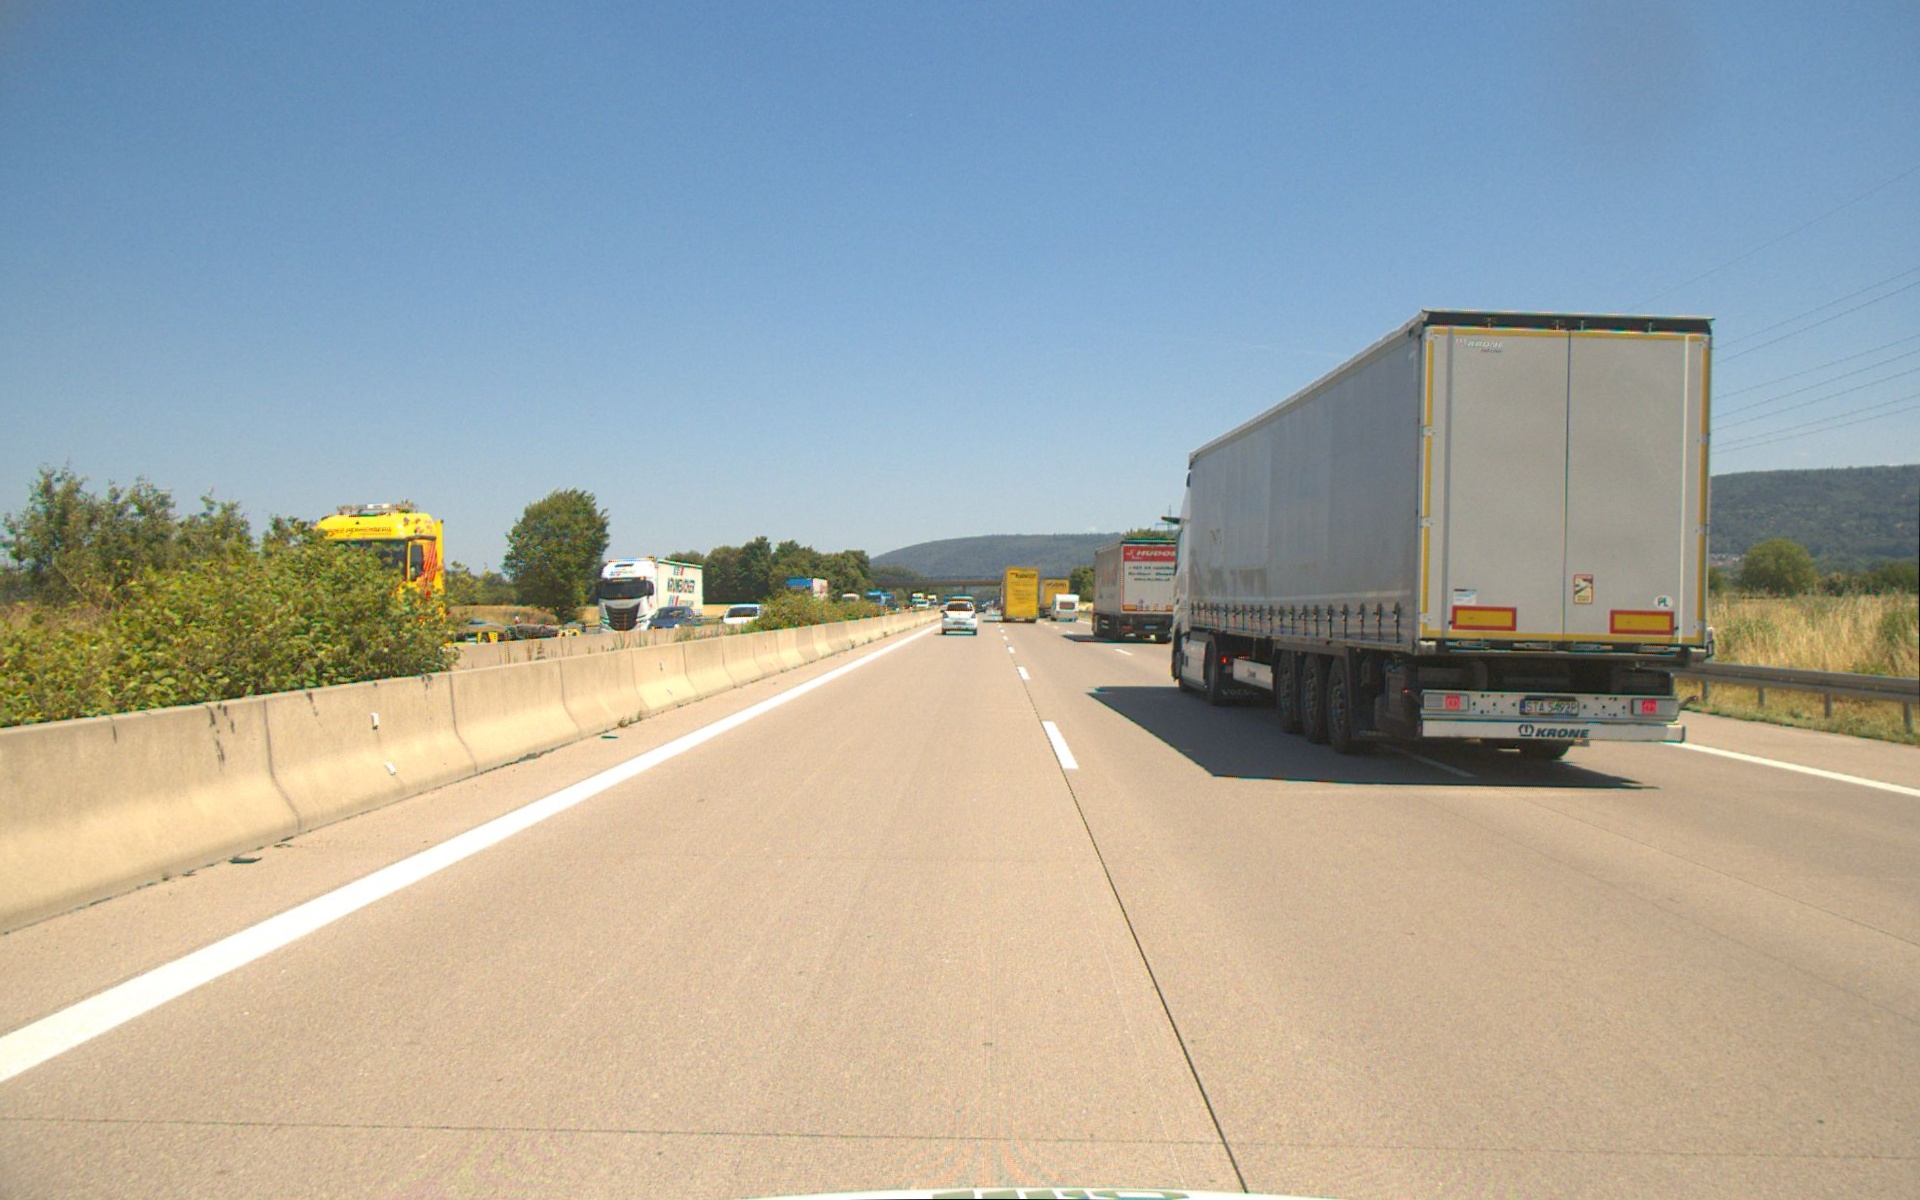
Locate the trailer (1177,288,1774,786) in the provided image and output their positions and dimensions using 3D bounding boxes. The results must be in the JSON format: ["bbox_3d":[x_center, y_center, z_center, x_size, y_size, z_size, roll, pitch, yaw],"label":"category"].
[{"bbox_3d":[5.297,-0.537,21.085,2.956,4.132,14.204,1,0,-1],"label":"trailer"}]

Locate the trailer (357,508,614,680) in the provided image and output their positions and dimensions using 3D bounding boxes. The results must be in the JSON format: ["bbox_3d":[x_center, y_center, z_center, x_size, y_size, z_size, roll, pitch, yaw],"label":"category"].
[{"bbox_3d":[-13.076,-0.153,47.541,2.719,4.110,14.614,1,0,1],"label":"trailer"}]

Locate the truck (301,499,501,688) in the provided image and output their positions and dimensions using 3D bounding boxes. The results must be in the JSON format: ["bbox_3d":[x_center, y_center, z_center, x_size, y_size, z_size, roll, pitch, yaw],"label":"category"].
[{"bbox_3d":[-13.266,-0.148,39.768,2.687,4.151,5.541,1,0,2],"label":"truck"}]

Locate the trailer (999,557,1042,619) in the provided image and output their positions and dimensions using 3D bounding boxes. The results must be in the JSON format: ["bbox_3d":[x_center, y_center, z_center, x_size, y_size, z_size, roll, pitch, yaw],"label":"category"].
[{"bbox_3d":[4.751,-0.908,132.691,3.149,4.643,13.458,1,0,1],"label":"trailer"}]

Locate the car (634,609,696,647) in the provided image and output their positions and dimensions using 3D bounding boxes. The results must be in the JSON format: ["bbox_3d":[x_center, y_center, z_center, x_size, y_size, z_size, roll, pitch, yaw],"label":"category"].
[{"bbox_3d":[-13.176,1.233,74.133,1.953,1.611,4.370,0,0,0],"label":"car"}]

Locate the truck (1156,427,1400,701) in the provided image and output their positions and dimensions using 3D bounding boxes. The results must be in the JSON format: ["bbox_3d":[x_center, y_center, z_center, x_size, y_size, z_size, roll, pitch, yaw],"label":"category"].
[{"bbox_3d":[5.214,-0.551,28.153,2.924,4.133,5.476,1,0,-1],"label":"truck"}]

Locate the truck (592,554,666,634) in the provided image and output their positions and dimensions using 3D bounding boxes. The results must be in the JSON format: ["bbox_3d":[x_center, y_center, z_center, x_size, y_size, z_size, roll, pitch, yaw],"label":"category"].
[{"bbox_3d":[-16.746,-0.310,83.956,2.713,3.907,4.452,1,0,0],"label":"truck"}]

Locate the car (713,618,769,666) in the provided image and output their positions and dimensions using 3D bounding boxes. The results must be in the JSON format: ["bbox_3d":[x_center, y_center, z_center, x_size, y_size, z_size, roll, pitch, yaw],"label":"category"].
[{"bbox_3d":[-8.915,1.677,67.727,1.670,1.835,4.714,0,0,0],"label":"car"}]

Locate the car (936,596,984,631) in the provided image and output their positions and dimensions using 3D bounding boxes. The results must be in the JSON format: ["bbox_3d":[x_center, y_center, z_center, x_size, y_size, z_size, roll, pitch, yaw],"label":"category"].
[{"bbox_3d":[0.043,0.621,77.361,2.063,1.563,4.123,1,0,2],"label":"car"}]

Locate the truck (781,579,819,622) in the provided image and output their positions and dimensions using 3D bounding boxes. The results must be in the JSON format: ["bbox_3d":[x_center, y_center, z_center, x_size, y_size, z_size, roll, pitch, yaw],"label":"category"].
[{"bbox_3d":[-15.061,0.031,156.028,2.837,3.931,5.685,1,0,0],"label":"truck"}]

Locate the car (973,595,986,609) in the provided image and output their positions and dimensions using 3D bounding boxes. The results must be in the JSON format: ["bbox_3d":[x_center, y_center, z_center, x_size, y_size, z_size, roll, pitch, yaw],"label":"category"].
[{"bbox_3d":[2.737,0.224,235.976,1.747,1.914,4.001,1,0,1],"label":"car"}]

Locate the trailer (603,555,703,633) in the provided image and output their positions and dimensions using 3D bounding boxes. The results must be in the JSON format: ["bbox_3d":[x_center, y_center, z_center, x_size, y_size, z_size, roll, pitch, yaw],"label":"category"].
[{"bbox_3d":[-16.681,-0.307,90.981,2.713,3.869,13.829,1,0,1],"label":"trailer"}]

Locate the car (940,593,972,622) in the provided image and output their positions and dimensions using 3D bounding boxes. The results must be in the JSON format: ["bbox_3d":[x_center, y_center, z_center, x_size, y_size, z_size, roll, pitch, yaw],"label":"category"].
[{"bbox_3d":[-0.272,0.542,121.671,2.208,2.049,4.298,1,0,2],"label":"car"}]

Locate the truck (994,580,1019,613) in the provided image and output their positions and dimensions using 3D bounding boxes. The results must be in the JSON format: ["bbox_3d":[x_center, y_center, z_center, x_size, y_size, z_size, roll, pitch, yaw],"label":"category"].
[{"bbox_3d":[5.397,-0.412,194.375,2.762,3.827,6.284,1,0,1],"label":"truck"}]

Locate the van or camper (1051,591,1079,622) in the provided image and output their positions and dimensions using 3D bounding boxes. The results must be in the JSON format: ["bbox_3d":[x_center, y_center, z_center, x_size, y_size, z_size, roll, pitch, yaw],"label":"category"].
[{"bbox_3d":[9.186,0.573,144.970,2.178,2.575,5.431,1,0,1],"label":"van or camper"}]

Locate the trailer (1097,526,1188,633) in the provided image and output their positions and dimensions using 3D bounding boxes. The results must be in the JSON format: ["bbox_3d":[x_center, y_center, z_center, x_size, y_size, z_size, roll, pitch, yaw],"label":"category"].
[{"bbox_3d":[7.771,-0.809,72.074,2.814,4.172,13.515,1,0,2],"label":"trailer"}]

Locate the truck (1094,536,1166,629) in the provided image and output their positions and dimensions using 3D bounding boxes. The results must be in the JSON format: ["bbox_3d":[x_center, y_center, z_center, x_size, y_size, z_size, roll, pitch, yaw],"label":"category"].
[{"bbox_3d":[7.993,-0.811,78.535,2.845,4.172,6.273,1,0,2],"label":"truck"}]

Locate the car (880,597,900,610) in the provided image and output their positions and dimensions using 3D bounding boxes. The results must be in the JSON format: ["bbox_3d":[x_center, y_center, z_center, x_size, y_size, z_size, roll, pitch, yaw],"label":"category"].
[{"bbox_3d":[-7.461,0.332,176.736,1.859,1.349,5.069,1,0,1],"label":"car"}]

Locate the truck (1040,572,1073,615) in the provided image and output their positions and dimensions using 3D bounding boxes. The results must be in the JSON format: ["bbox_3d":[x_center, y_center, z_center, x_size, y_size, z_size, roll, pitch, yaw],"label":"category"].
[{"bbox_3d":[10.125,-0.681,173.940,2.937,4.390,9.685,1,0,1],"label":"truck"}]
